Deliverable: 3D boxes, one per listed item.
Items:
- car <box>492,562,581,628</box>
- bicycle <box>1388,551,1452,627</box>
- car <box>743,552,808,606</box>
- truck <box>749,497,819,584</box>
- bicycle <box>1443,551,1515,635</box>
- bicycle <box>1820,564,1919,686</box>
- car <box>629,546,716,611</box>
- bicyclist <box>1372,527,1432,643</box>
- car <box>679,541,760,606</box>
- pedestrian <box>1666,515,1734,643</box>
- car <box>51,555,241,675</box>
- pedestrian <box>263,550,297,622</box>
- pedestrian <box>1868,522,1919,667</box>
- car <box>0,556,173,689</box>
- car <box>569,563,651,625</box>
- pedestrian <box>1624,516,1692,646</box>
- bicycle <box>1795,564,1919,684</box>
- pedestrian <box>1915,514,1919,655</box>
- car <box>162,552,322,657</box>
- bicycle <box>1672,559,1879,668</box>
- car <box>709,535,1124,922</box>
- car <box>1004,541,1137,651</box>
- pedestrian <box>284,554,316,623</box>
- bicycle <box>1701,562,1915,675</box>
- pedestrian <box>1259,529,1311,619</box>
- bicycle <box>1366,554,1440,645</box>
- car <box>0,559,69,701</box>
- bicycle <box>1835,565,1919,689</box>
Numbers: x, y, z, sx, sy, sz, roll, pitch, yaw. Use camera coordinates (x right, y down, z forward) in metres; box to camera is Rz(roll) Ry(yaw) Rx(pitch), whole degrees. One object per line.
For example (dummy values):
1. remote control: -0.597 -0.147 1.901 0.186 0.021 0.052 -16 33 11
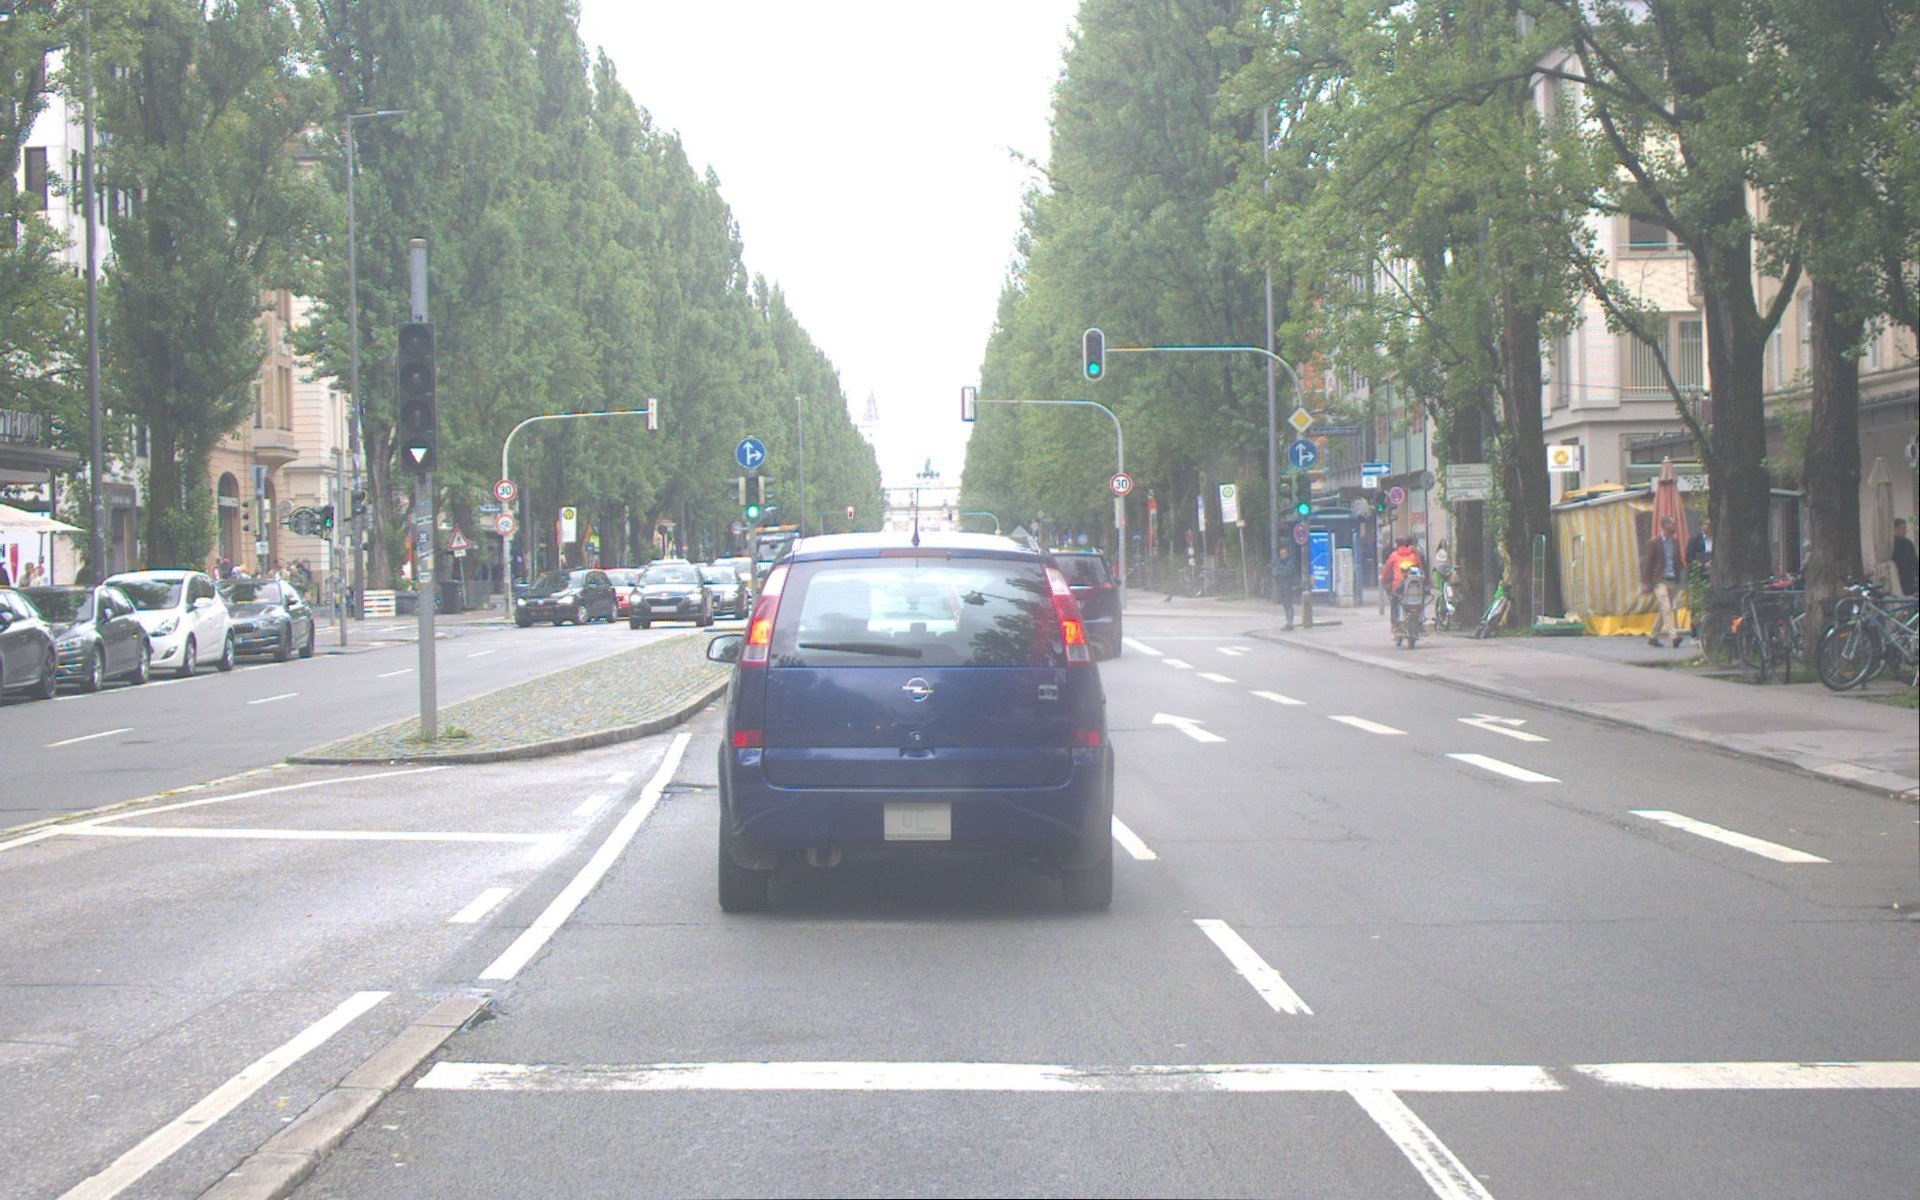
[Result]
1. car: -11.159 -0.160 90.822 1.866 1.660 4.120 -1 1 -1
2. bicycle: 8.330 -0.210 62.374 0.772 1.344 2.449 -1 1 -1
3. car: -5.919 -0.702 110.472 1.866 1.660 4.120 -1 1 -1
4. truck: -6.907 -2.342 135.659 2.383 3.335 7.111 -1 1 -1
5. bicycle: 8.570 -0.124 56.837 0.772 1.344 2.449 -1 1 -1
6. bicycle: 9.951 0.237 34.970 2.227 1.200 0.626 -1 1 -2
7. car: -6.629 -0.512 79.450 1.735 1.460 3.365 -1 1 -1
8. bicyclist: 6.811 -0.235 52.982 0.767 1.760 0.885 -1 1 -1
9. car: -6.397 -0.722 91.800 1.866 1.660 4.120 -1 1 -1
10. pedestrian: 10.607 -0.303 49.291 0.636 1.820 0.888 1 0 -10
11. car: -12.292 0.186 52.175 1.866 1.660 4.120 -2 1 0
12. pedestrian: -16.954 -0.352 85.747 0.767 1.760 0.885 -1 1 -13
13. pedestrian: 12.110 -0.072 43.929 0.636 1.820 0.888 1 0 -10
14. car: -12.170 0.278 46.915 1.866 1.660 4.120 -2 1 0
15. car: -9.814 -0.186 96.634 1.866 1.660 4.120 -1 1 -1
16. pedestrian: 9.946 -0.268 49.011 0.636 1.820 0.888 1 0 -10
17. bicycle: 9.894 0.233 35.768 2.227 1.200 0.626 -1 1 -2
18. pedestrian: 12.801 -0.197 44.119 0.719 1.820 0.888 1 0 -10
19. car: -12.364 0.040 59.450 1.866 1.660 4.120 -2 1 0
20. bicycle: 9.494 0.151 40.059 2.227 1.200 0.626 -1 1 -2
21. car: -0.183 0.487 15.854 1.671 1.563 4.000 0 1 0
22. car: 1.652 -0.089 52.579 1.896 1.616 4.000 0 1 0
23. pedestrian: -16.901 -0.296 88.075 0.767 1.760 0.885 -1 1 -12
24. bicycle: 9.533 0.201 38.681 2.227 1.200 0.626 -1 1 -2
25. pedestrian: 6.421 -0.518 67.912 0.882 1.760 0.770 -1 1 -3
26. bicycle: 6.815 -0.021 52.951 0.772 1.344 2.449 -1 1 -1
27. car: -12.218 0.379 41.388 1.866 1.660 4.120 -2 1 0
28. bicycle: 9.898 0.244 34.161 2.227 1.200 0.626 -1 1 -2
